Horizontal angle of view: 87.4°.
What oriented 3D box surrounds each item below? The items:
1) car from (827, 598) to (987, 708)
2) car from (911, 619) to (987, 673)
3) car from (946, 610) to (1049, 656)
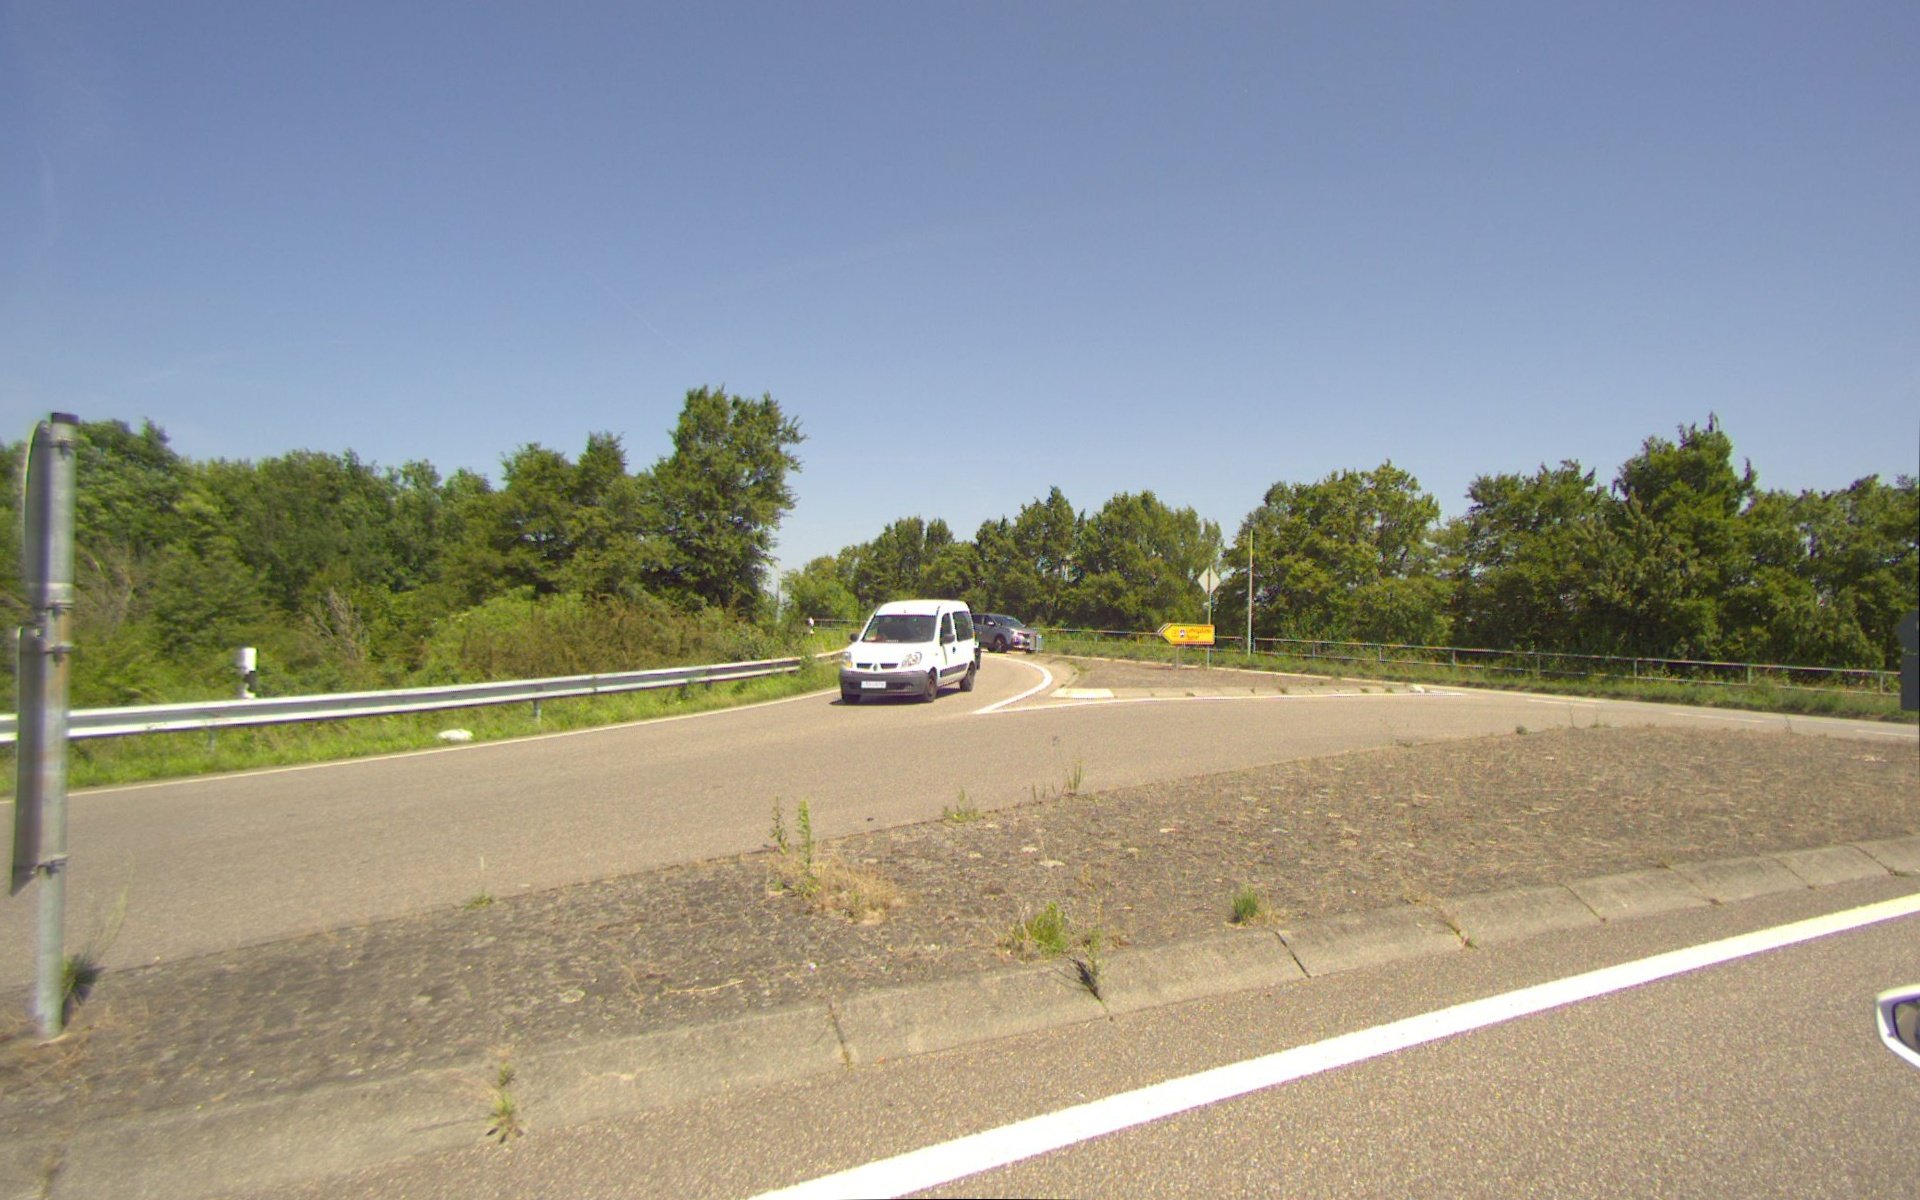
[{"bbox_3d":[-0.841,0.903,18.547,1.707,1.784,4.085,-1,-1,16],"label":"car"},{"bbox_3d":[-0.387,1.298,29.050,1.682,1.414,3.883,-1,-1,-8],"label":"car"},{"bbox_3d":[1.502,1.349,41.907,1.783,1.604,4.439,4,-1,-39],"label":"car"}]
